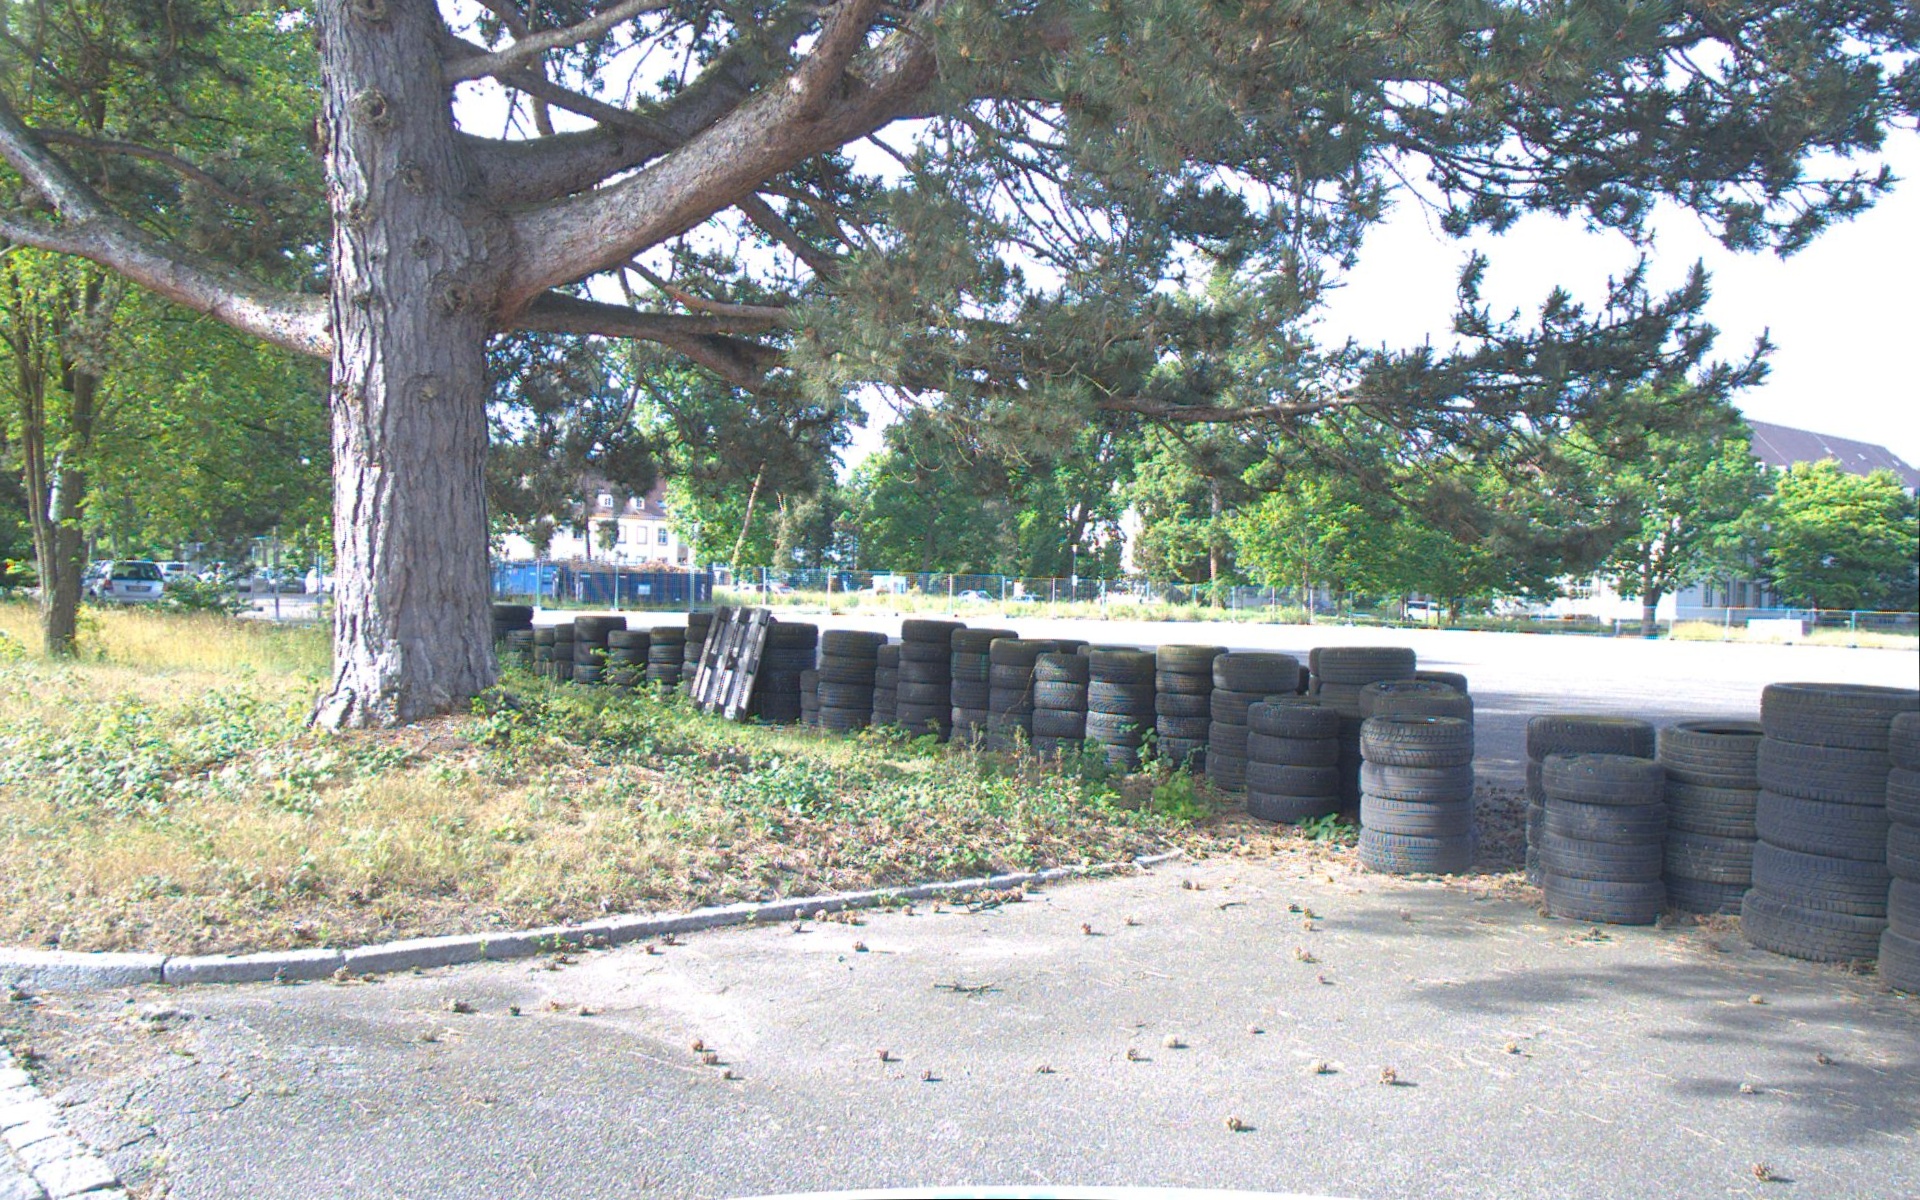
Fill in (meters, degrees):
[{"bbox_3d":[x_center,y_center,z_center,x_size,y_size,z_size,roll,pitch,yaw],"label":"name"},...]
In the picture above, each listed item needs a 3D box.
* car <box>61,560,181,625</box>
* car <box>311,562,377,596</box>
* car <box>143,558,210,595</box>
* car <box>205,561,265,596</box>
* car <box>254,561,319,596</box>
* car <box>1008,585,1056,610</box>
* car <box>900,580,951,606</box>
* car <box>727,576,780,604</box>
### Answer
[{"bbox_3d":[-21.722,-0.207,42.765,1.875,1.568,3.942,2,0,-40],"label":"car"},{"bbox_3d":[-31.272,-1.062,83.906,1.980,1.646,3.945,1,1,-39],"label":"car"},{"bbox_3d":[-36.993,-1.136,78.069,1.980,1.646,3.945,1,1,-39],"label":"car"},{"bbox_3d":[-35.091,-1.048,79.980,1.807,1.646,3.948,1,1,-37],"label":"car"},{"bbox_3d":[-33.329,-1.080,81.808,1.980,1.646,3.945,1,1,-39],"label":"car"},{"bbox_3d":[5.578,-0.191,128.136,1.972,1.780,3.962,1,0,-29],"label":"car"},{"bbox_3d":[-2.542,-0.547,121.635,1.974,1.780,3.957,1,0,-31],"label":"car"},{"bbox_3d":[-14.035,-0.685,112.192,1.976,1.780,3.953,1,0,-34],"label":"car"}]
